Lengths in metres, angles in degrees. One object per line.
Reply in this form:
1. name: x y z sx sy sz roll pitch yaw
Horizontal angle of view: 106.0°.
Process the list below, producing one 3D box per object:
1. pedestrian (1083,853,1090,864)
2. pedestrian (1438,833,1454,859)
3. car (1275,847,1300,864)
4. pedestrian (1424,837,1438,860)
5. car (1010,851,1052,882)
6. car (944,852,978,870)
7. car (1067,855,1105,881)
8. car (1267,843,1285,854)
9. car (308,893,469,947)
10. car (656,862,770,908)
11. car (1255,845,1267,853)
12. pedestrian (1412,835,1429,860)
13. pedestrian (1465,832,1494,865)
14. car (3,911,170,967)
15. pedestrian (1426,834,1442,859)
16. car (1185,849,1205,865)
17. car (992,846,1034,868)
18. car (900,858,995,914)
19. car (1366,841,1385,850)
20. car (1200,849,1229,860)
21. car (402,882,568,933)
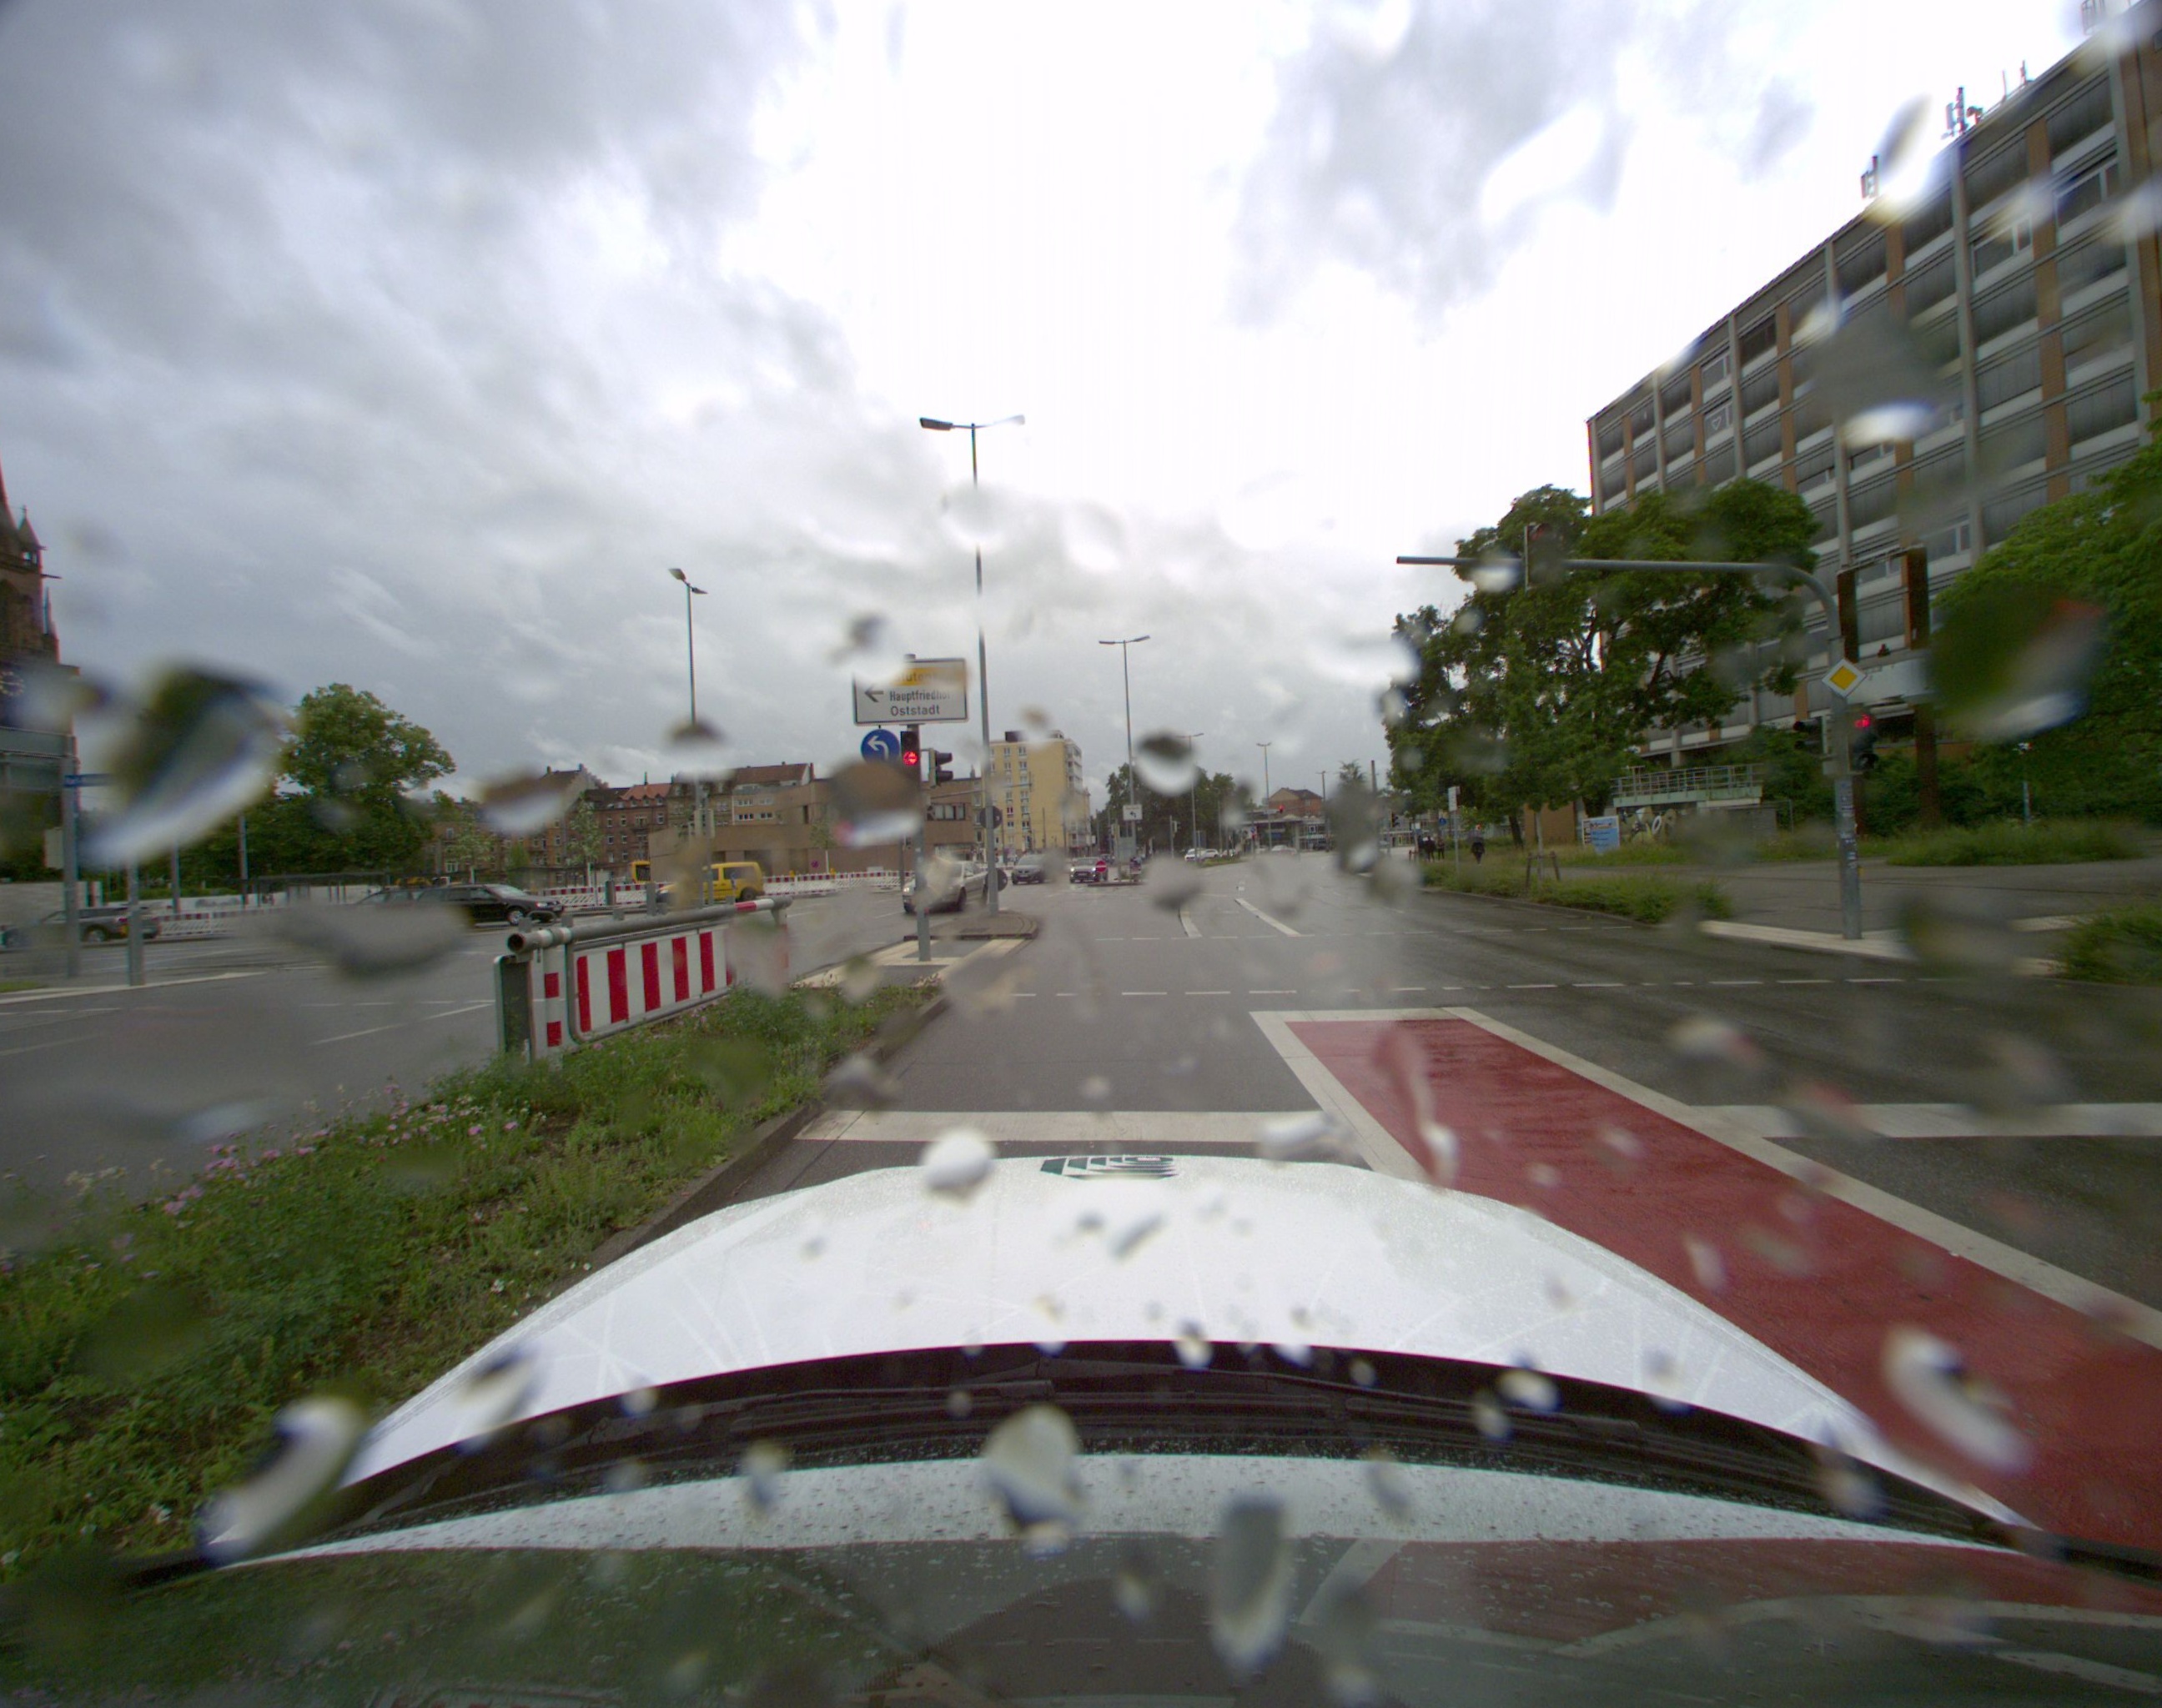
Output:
1. pedestrian: 0.980 0.756 144.659 1.089 1.813 1.117 -3 0 -2
2. pedestrian: 23.435 -0.514 52.259 0.698 1.588 0.939 -3 0 12
3. car: 21.950 0.092 86.489 1.774 1.643 4.183 -3 0 23
4. pedestrian: 25.142 -0.422 58.452 0.698 1.588 0.940 -3 0 12
5. car: -2.904 0.690 48.015 1.764 1.678 4.774 -3 0 4
6. car: -21.094 1.235 142.839 5.326 2.887 2.342 -3 0 4
7. car: 0.326 0.808 47.943 1.763 1.376 4.128 -3 0 6
8. car: 32.286 -0.918 134.896 1.773 1.643 4.185 -3 0 27
9. car: -27.210 2.566 32.155 4.454 1.706 1.702 -3 0 -15
10. car: -15.908 1.313 35.260 4.172 1.706 1.692 -3 0 -37
11. car: 41.092 -1.142 185.798 1.773 1.643 4.184 -3 0 25
12. pedestrian: 22.040 -0.440 52.885 0.749 1.588 0.939 -3 0 12
13. pedestrian: 20.019 -0.289 40.924 1.015 1.588 0.939 -3 0 12
14. car: -37.364 3.173 30.689 3.803 1.706 1.707 -3 0 -6
15. pedestrian: 22.752 -0.478 52.552 0.698 1.588 0.939 -3 0 12
16. car: 14.451 0.412 103.161 1.776 1.858 4.178 -3 0 17
17. car: -11.804 0.458 141.986 6.711 3.380 2.813 -3 0 4
18. car: -4.005 0.921 25.167 1.685 1.415 4.192 -3 0 7
19. car: 61.405 -1.755 169.643 4.182 1.643 1.774 -3 0 -41
20. car: 22.001 0.039 134.106 4.407 1.643 1.780 -3 0 -28
21. car: -19.981 1.760 27.442 4.185 1.402 1.615 -3 0 -5
